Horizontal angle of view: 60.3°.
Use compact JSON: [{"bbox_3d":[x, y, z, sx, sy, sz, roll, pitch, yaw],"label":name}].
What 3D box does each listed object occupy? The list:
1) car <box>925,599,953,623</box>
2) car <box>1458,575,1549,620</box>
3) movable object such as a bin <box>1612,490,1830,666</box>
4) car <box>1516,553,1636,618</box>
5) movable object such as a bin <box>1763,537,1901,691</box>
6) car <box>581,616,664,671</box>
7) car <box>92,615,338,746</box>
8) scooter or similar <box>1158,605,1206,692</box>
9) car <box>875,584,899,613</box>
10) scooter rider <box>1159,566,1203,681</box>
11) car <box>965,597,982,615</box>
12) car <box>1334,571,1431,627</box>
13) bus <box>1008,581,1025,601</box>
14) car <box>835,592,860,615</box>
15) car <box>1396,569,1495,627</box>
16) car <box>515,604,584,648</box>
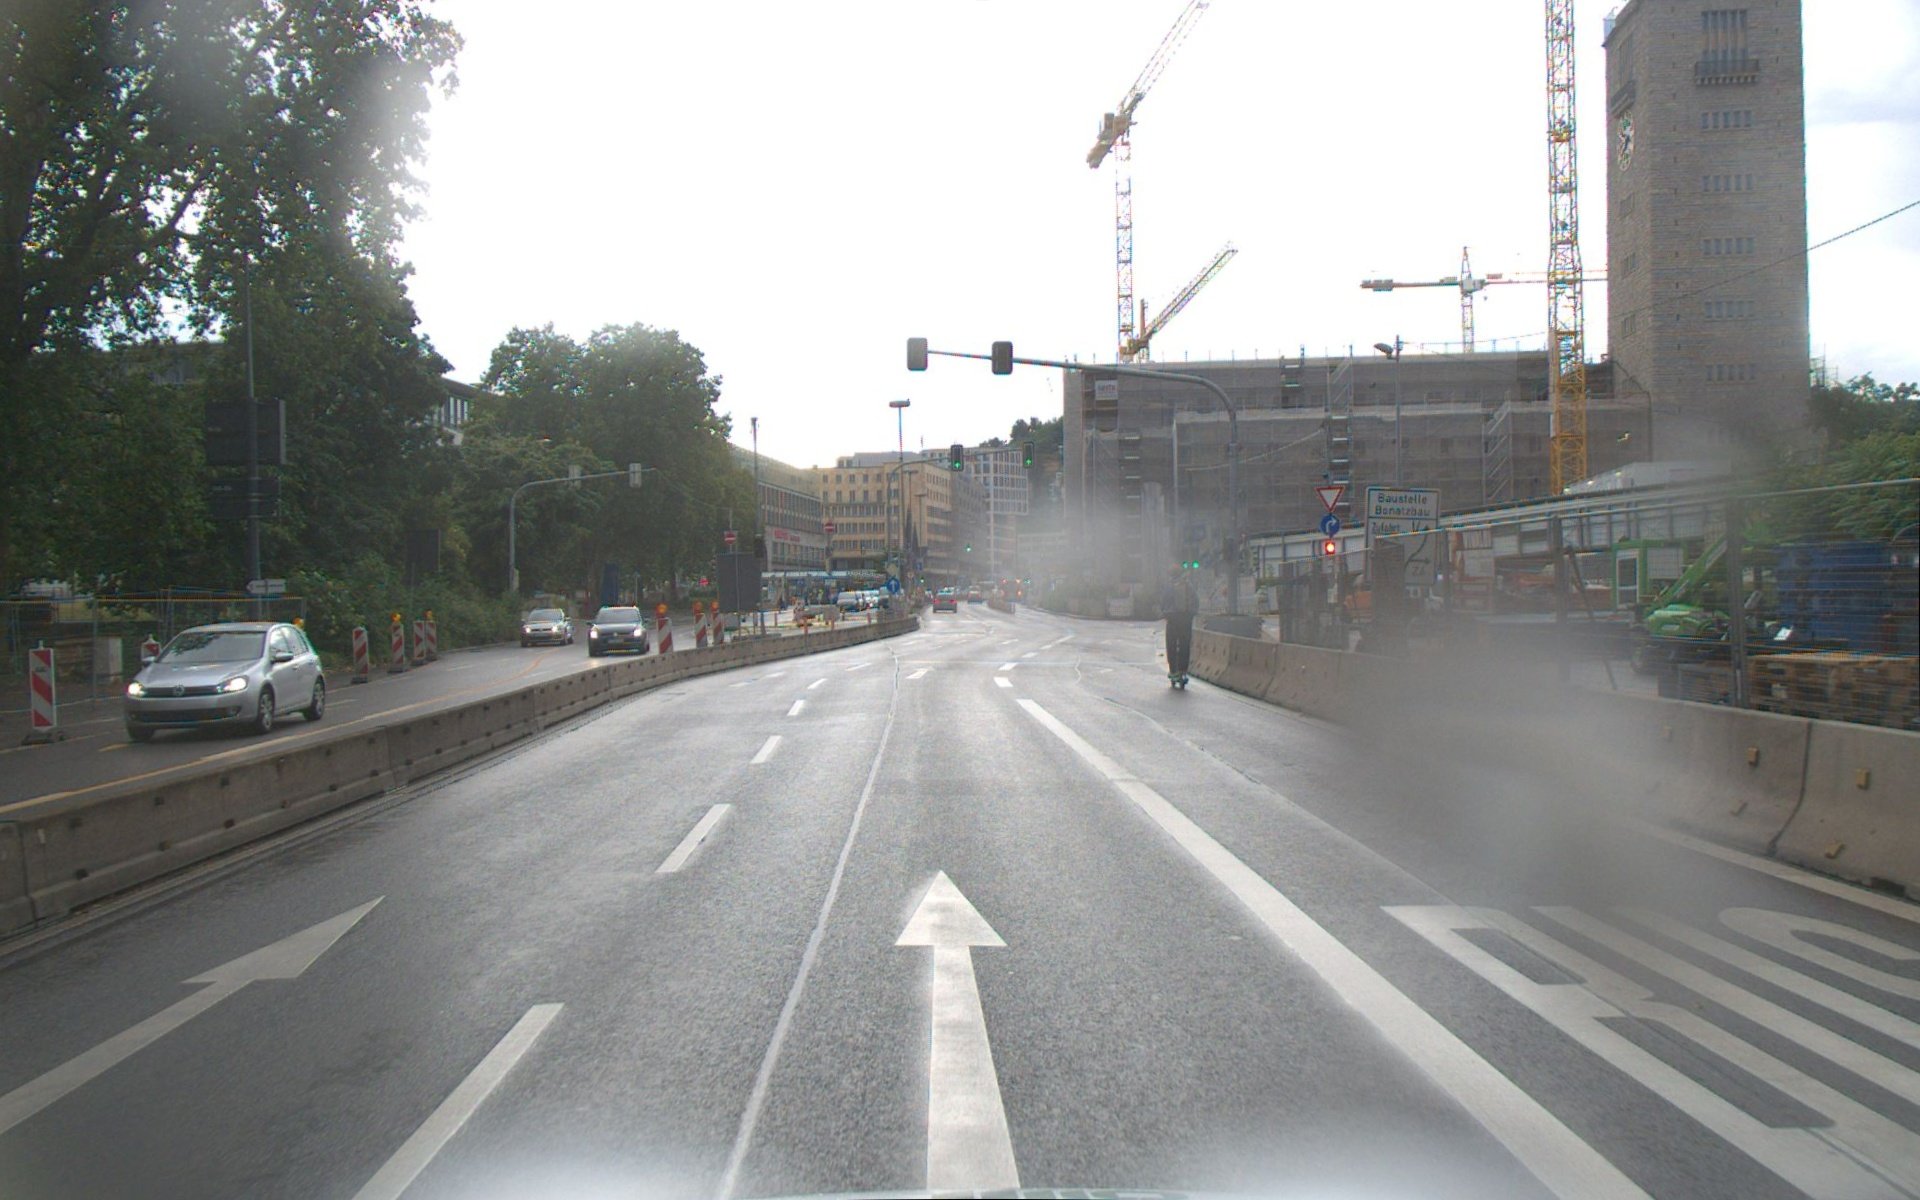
[{"bbox_3d":[-1.563,0.840,121.660,1.864,1.554,4.174,-3,-2,-3],"label":"car"},{"bbox_3d":[21.560,-0.089,65.776,1.902,1.648,3.929,-3,0,-7],"label":"car"},{"bbox_3d":[13.174,-0.407,28.885,1.772,2.858,3.862,-1,1,-6],"label":"movable object such as a bin"},{"bbox_3d":[24.230,-0.530,65.336,2.006,2.354,5.596,-3,0,-7],"label":"car"},{"bbox_3d":[13.167,0.182,24.993,1.437,2.241,1.256,-1,1,-24],"label":"movable object such as a bin"},{"bbox_3d":[-10.616,1.408,52.277,1.955,1.568,4.575,-3,-2,-5],"label":"car"},{"bbox_3d":[-10.282,1.111,23.185,1.833,1.568,4.085,-3,-2,-5],"label":"car"},{"bbox_3d":[3.569,0.762,26.664,0.585,1.342,1.668,-1,0,2],"label":"scooter or similar"},{"bbox_3d":[-5.969,-0.078,135.791,1.864,2.119,4.174,-3,-2,-3],"label":"car"},{"bbox_3d":[3.559,0.368,26.648,0.585,1.817,0.997,-1,0,2],"label":"scooter rider"},{"bbox_3d":[1.683,0.729,202.472,1.952,2.049,4.000,-3,-2,1],"label":"car"},{"bbox_3d":[15.867,-0.040,62.407,1.875,2.010,5.157,-1,0,-5],"label":"car"},{"bbox_3d":[7.785,-1.188,228.701,1.952,2.474,4.002,-3,-2,5],"label":"bus"},{"bbox_3d":[-9.182,0.302,135.238,1.864,1.554,4.174,-3,-2,-3],"label":"car"},{"bbox_3d":[16.503,-0.103,56.459,1.809,1.838,5.086,-1,1,-1],"label":"car"},{"bbox_3d":[-16.466,1.067,66.579,1.955,1.568,4.440,-3,-2,-5],"label":"car"}]
